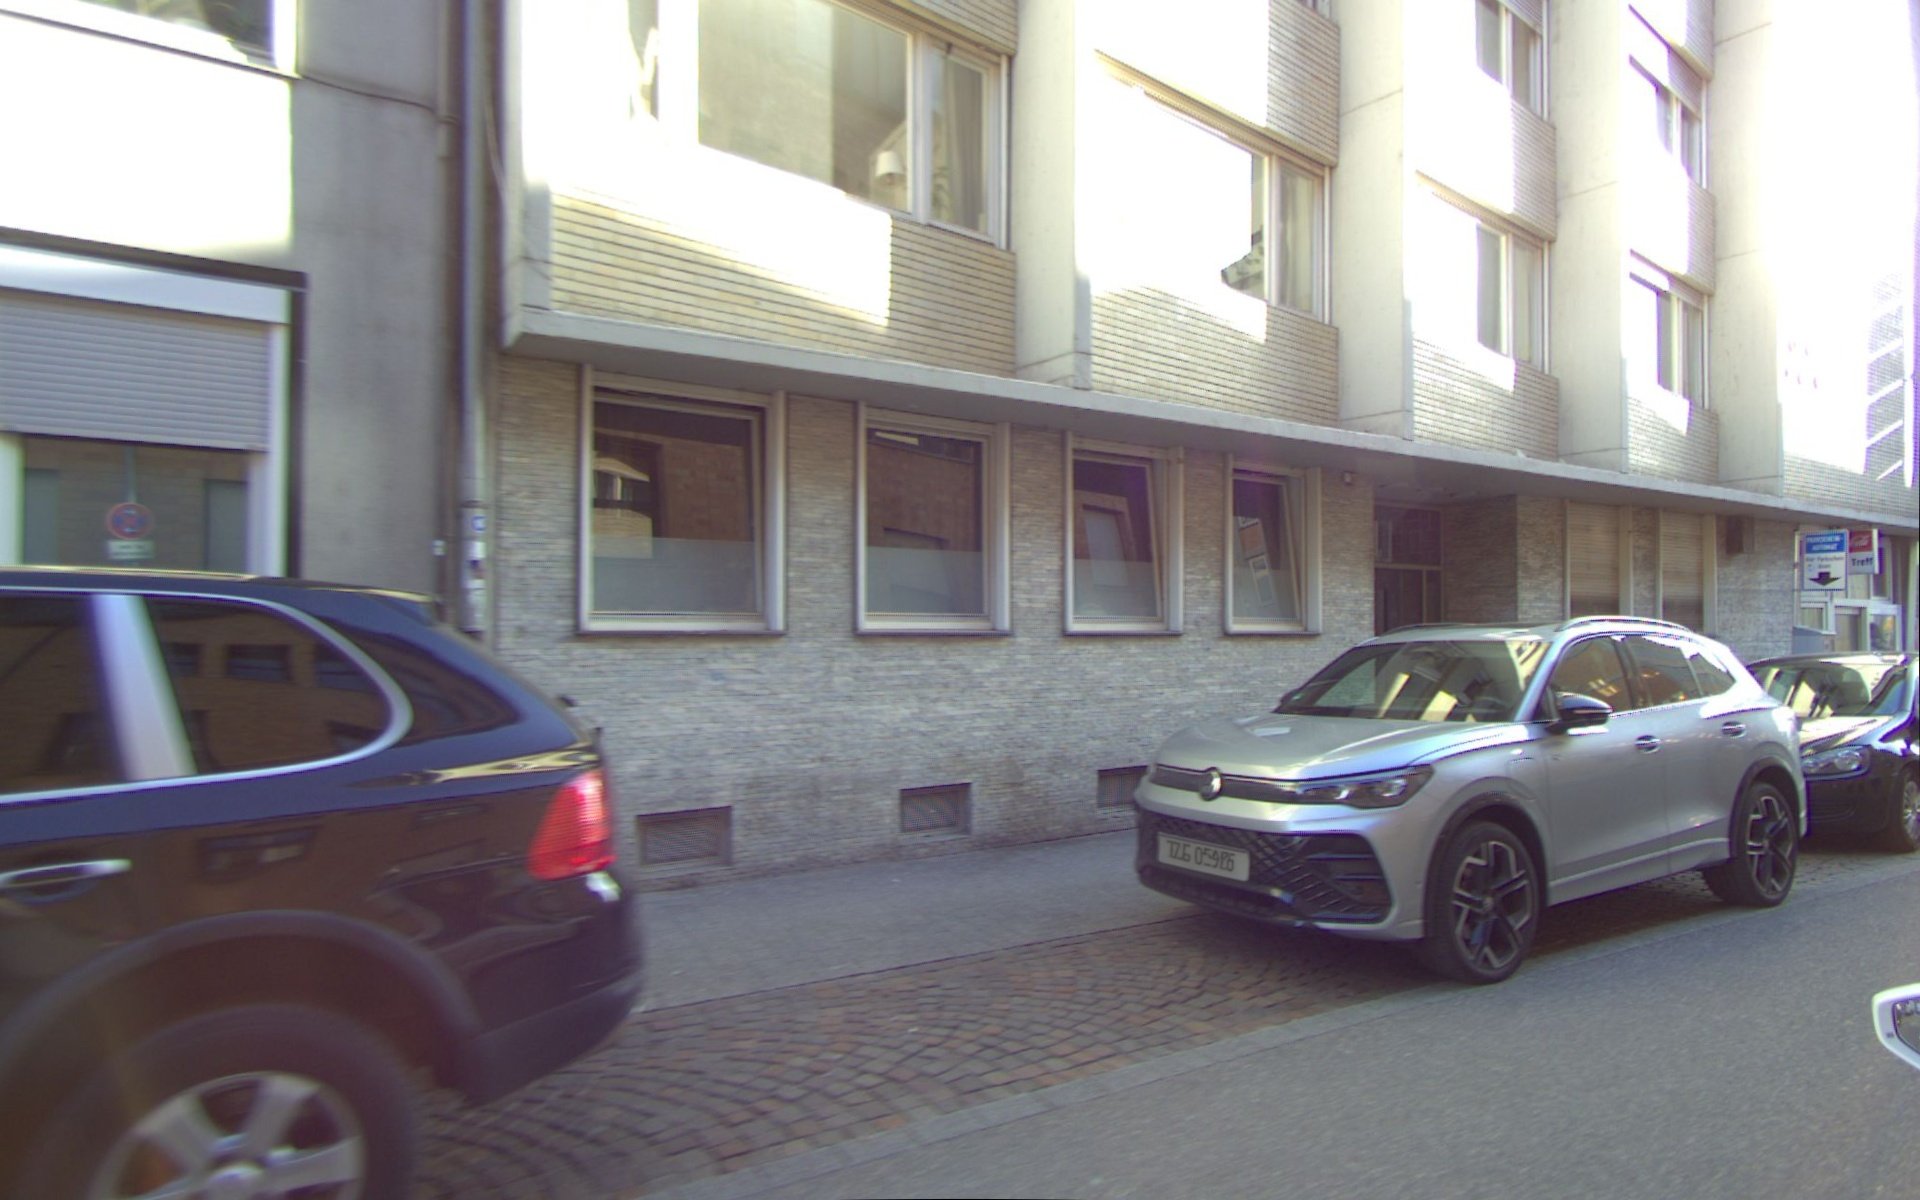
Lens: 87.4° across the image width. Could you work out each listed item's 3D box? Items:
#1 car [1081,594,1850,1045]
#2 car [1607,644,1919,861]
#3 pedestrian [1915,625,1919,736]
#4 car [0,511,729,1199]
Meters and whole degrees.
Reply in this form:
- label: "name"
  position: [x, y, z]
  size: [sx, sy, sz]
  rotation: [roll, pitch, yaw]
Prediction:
- label: "car"
  position: [3.018, 0.921, 5.843]
  size: [4.337, 1.765, 1.882]
  rotation: [1, -2, -29]
- label: "car"
  position: [7.507, 1.137, 8.567]
  size: [3.950, 1.479, 1.642]
  rotation: [1, -4, -29]
- label: "pedestrian"
  position: [15.494, 1.272, 15.790]
  size: [0.542, 1.761, 0.448]
  rotation: [0, -1, -6]
- label: "car"
  position: [-3.003, 0.699, 2.308]
  size: [4.499, 1.698, 1.881]
  rotation: [1, -2, -30]
